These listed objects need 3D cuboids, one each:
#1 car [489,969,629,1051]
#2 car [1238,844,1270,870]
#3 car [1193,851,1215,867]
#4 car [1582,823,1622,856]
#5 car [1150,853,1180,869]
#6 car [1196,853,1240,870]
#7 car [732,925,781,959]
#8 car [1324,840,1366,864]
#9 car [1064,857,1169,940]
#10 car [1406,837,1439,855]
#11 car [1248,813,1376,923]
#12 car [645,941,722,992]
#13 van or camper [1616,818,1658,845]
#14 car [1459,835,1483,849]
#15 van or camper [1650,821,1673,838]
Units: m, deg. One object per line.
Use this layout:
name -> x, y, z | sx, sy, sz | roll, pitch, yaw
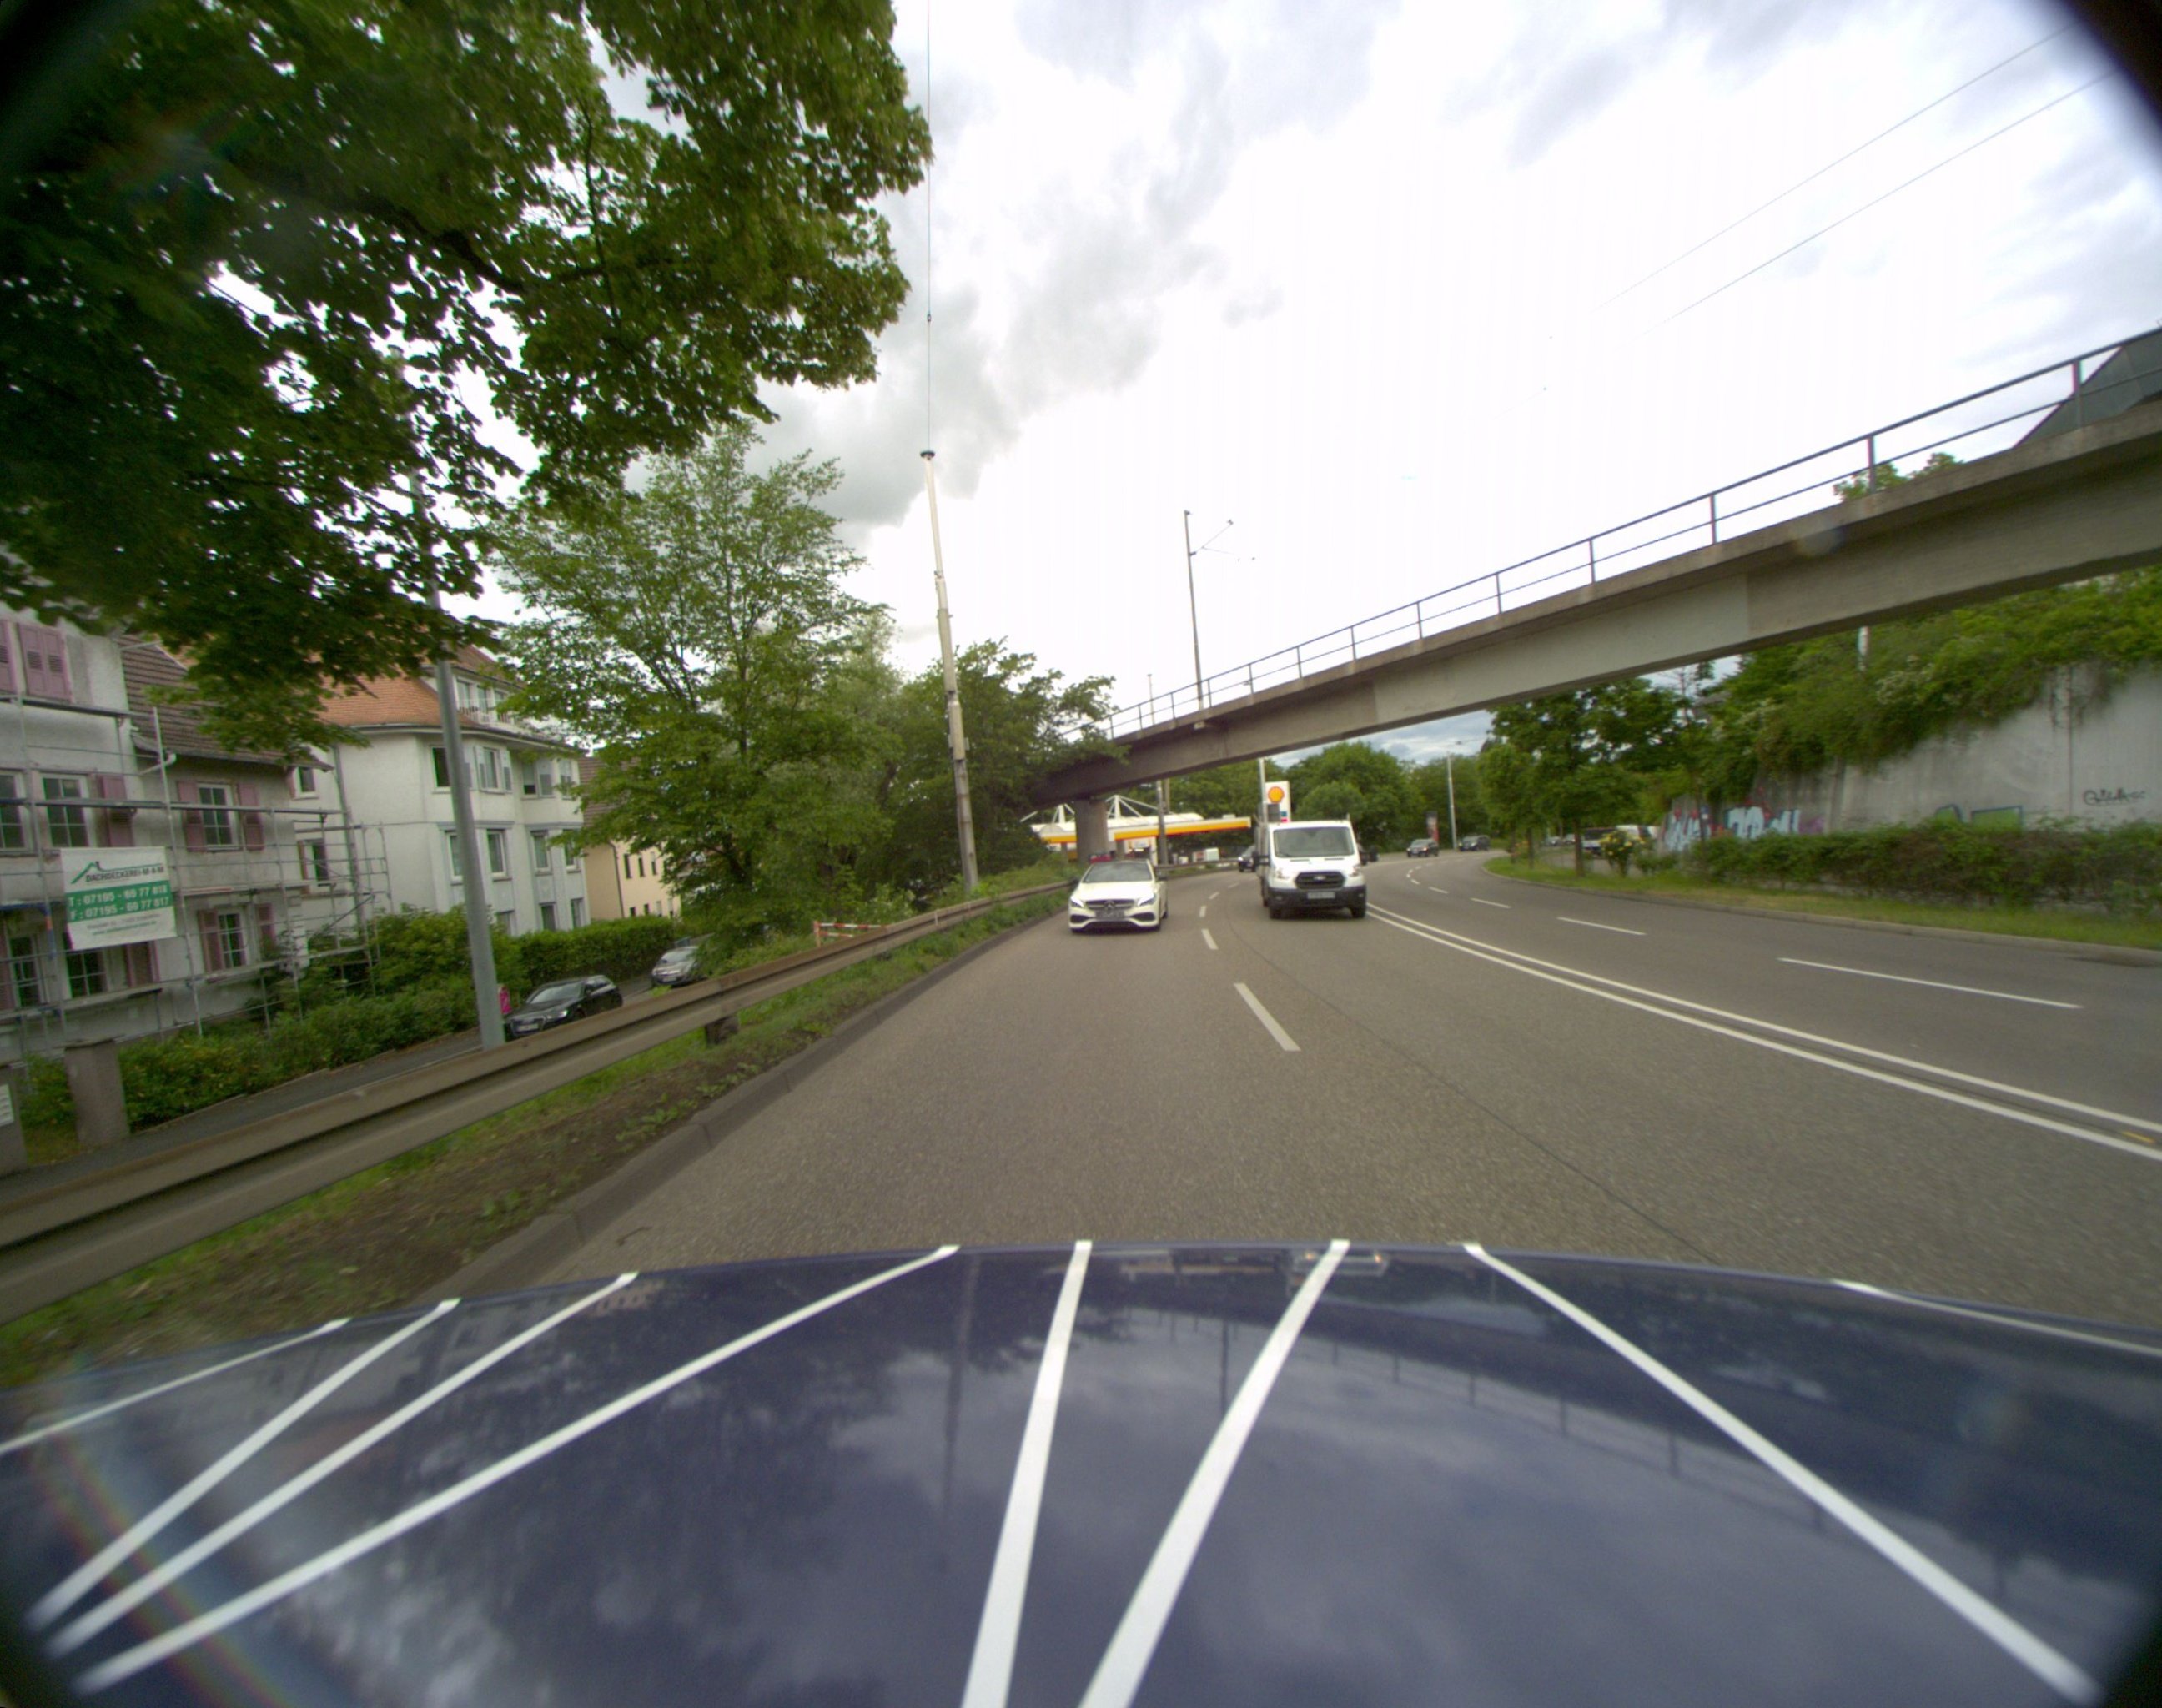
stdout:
car -> -14.840, 4.377, 21.881 | 1.624, 1.439, 4.055 | -6, 0, -10
car -> 10.149, 0.167, 44.658 | 1.732, 1.403, 4.003 | -2, 0, 12
car -> 13.903, 0.568, 86.008 | 1.627, 1.511, 4.097 | -3, 3, -1
car -> 38.153, -1.089, 55.557 | 2.268, 2.260, 6.338 | -1, 2, 36
car -> 9.395, 0.789, 85.501 | 1.724, 1.428, 4.097 | -4, 4, -18
car -> 14.598, 0.799, 81.276 | 4.293, 1.424, 1.599 | -4, 4, -8
car -> -18.288, 4.938, 42.964 | 1.651, 1.386, 3.767 | -6, 0, -11
car -> 17.797, -0.148, 51.138 | 1.733, 1.403, 4.007 | -3, 0, 33
car -> 0.883, 0.836, 16.062 | 1.820, 1.339, 4.001 | -1, 2, 8
car -> 31.435, -0.741, 69.898 | 1.726, 1.469, 4.008 | -3, 0, 40
car -> 5.305, 0.261, 18.328 | 1.997, 2.161, 6.272 | -1, 0, 8
car -> -16.390, 4.607, 31.553 | 1.624, 1.439, 4.026 | -6, 0, -11
van or camper -> 53.171, -2.130, 72.598 | 5.720, 2.459, 1.994 | -3, 2, -40
car -> 45.612, -1.394, 88.799 | 1.726, 1.469, 4.008 | -3, 0, 38
van or camper -> 80.196, -3.349, 104.920 | 2.009, 2.248, 5.973 | 0, 1, 43
